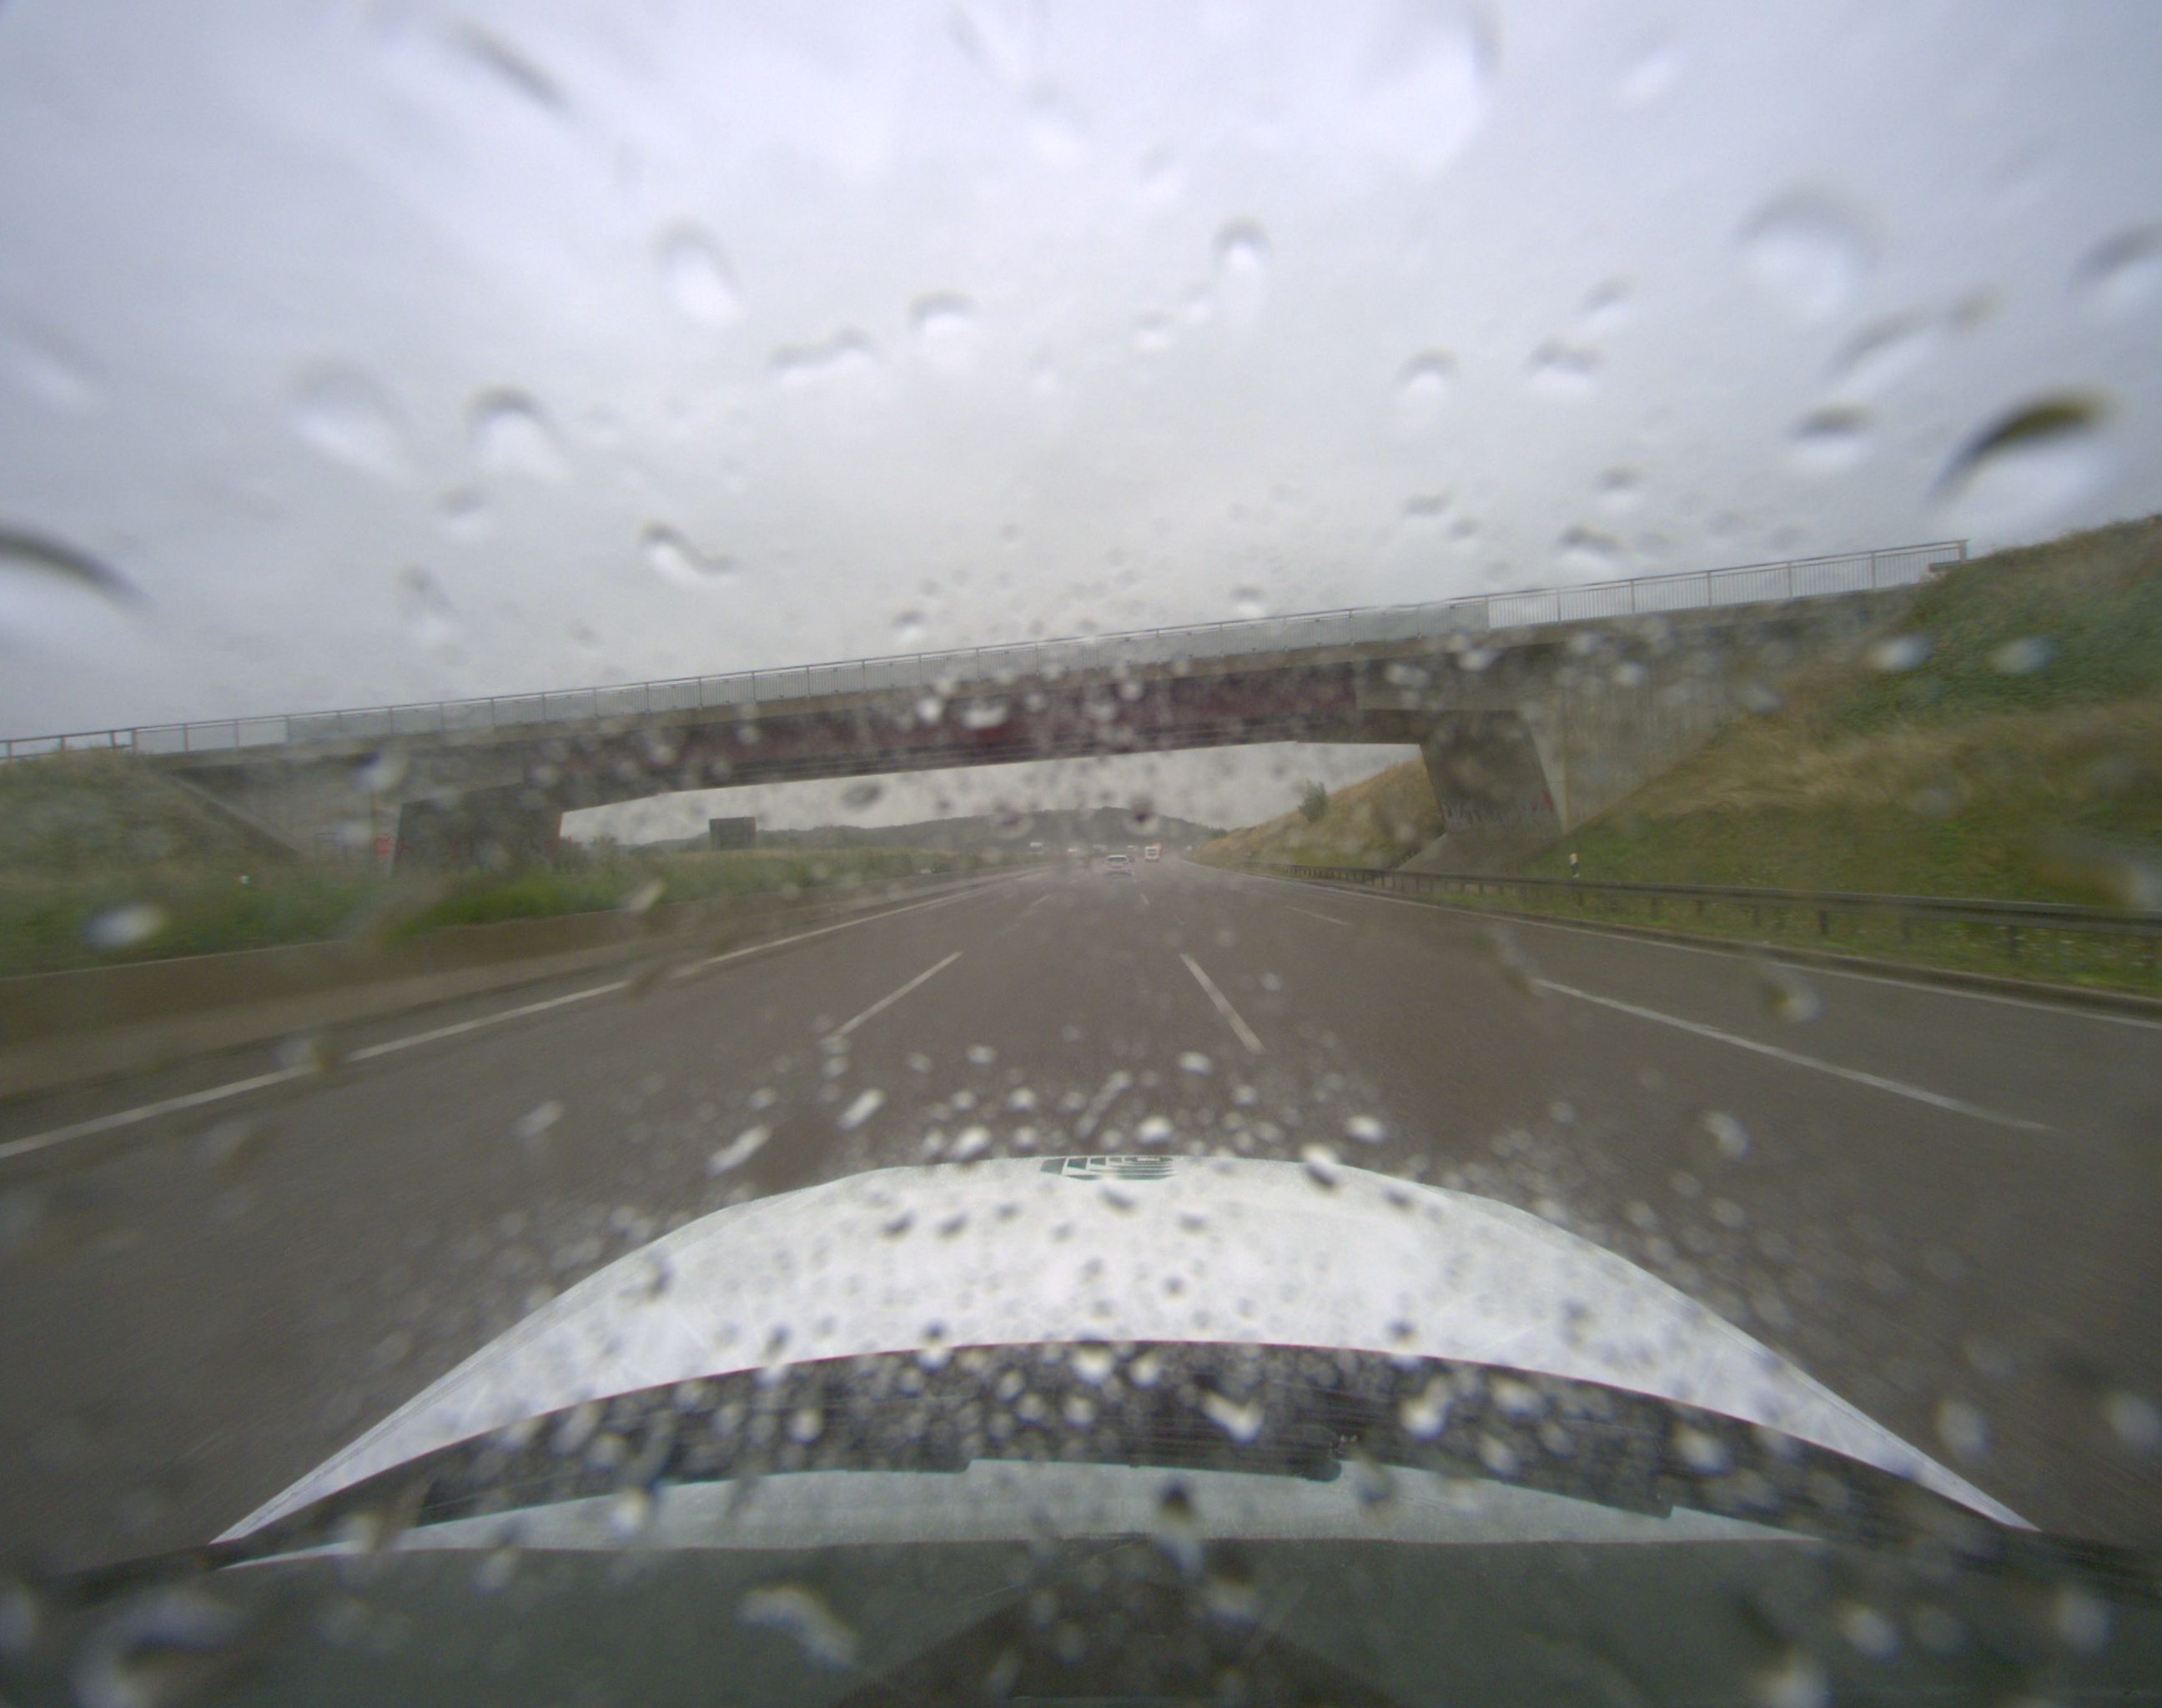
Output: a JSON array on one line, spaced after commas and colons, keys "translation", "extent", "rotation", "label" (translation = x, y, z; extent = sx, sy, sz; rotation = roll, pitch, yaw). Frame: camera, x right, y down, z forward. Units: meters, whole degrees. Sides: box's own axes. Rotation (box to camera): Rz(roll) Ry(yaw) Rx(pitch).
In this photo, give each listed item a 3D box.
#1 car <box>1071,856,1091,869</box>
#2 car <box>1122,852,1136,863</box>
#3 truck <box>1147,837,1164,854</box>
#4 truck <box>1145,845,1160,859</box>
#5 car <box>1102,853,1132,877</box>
[{"translation": [-0.014, 0.792, 76.862], "extent": [1.818, 1.156, 4.211], "rotation": [0, -1, 0], "label": "car"}, {"translation": [7.092, 0.532, 120.337], "extent": [1.985, 1.618, 4.004], "rotation": [-1, 0, 3], "label": "car"}, {"translation": [17.009, -2.003, 186.095], "extent": [3.513, 3.742, 11.435], "rotation": [-1, 1, 3], "label": "truck"}, {"translation": [11.970, -0.260, 136.511], "extent": [2.396, 2.252, 4.700], "rotation": [-1, 0, 5], "label": "truck"}, {"translation": [2.305, 0.701, 53.479], "extent": [1.861, 1.463, 4.001], "rotation": [-1, -1, 1], "label": "car"}]
